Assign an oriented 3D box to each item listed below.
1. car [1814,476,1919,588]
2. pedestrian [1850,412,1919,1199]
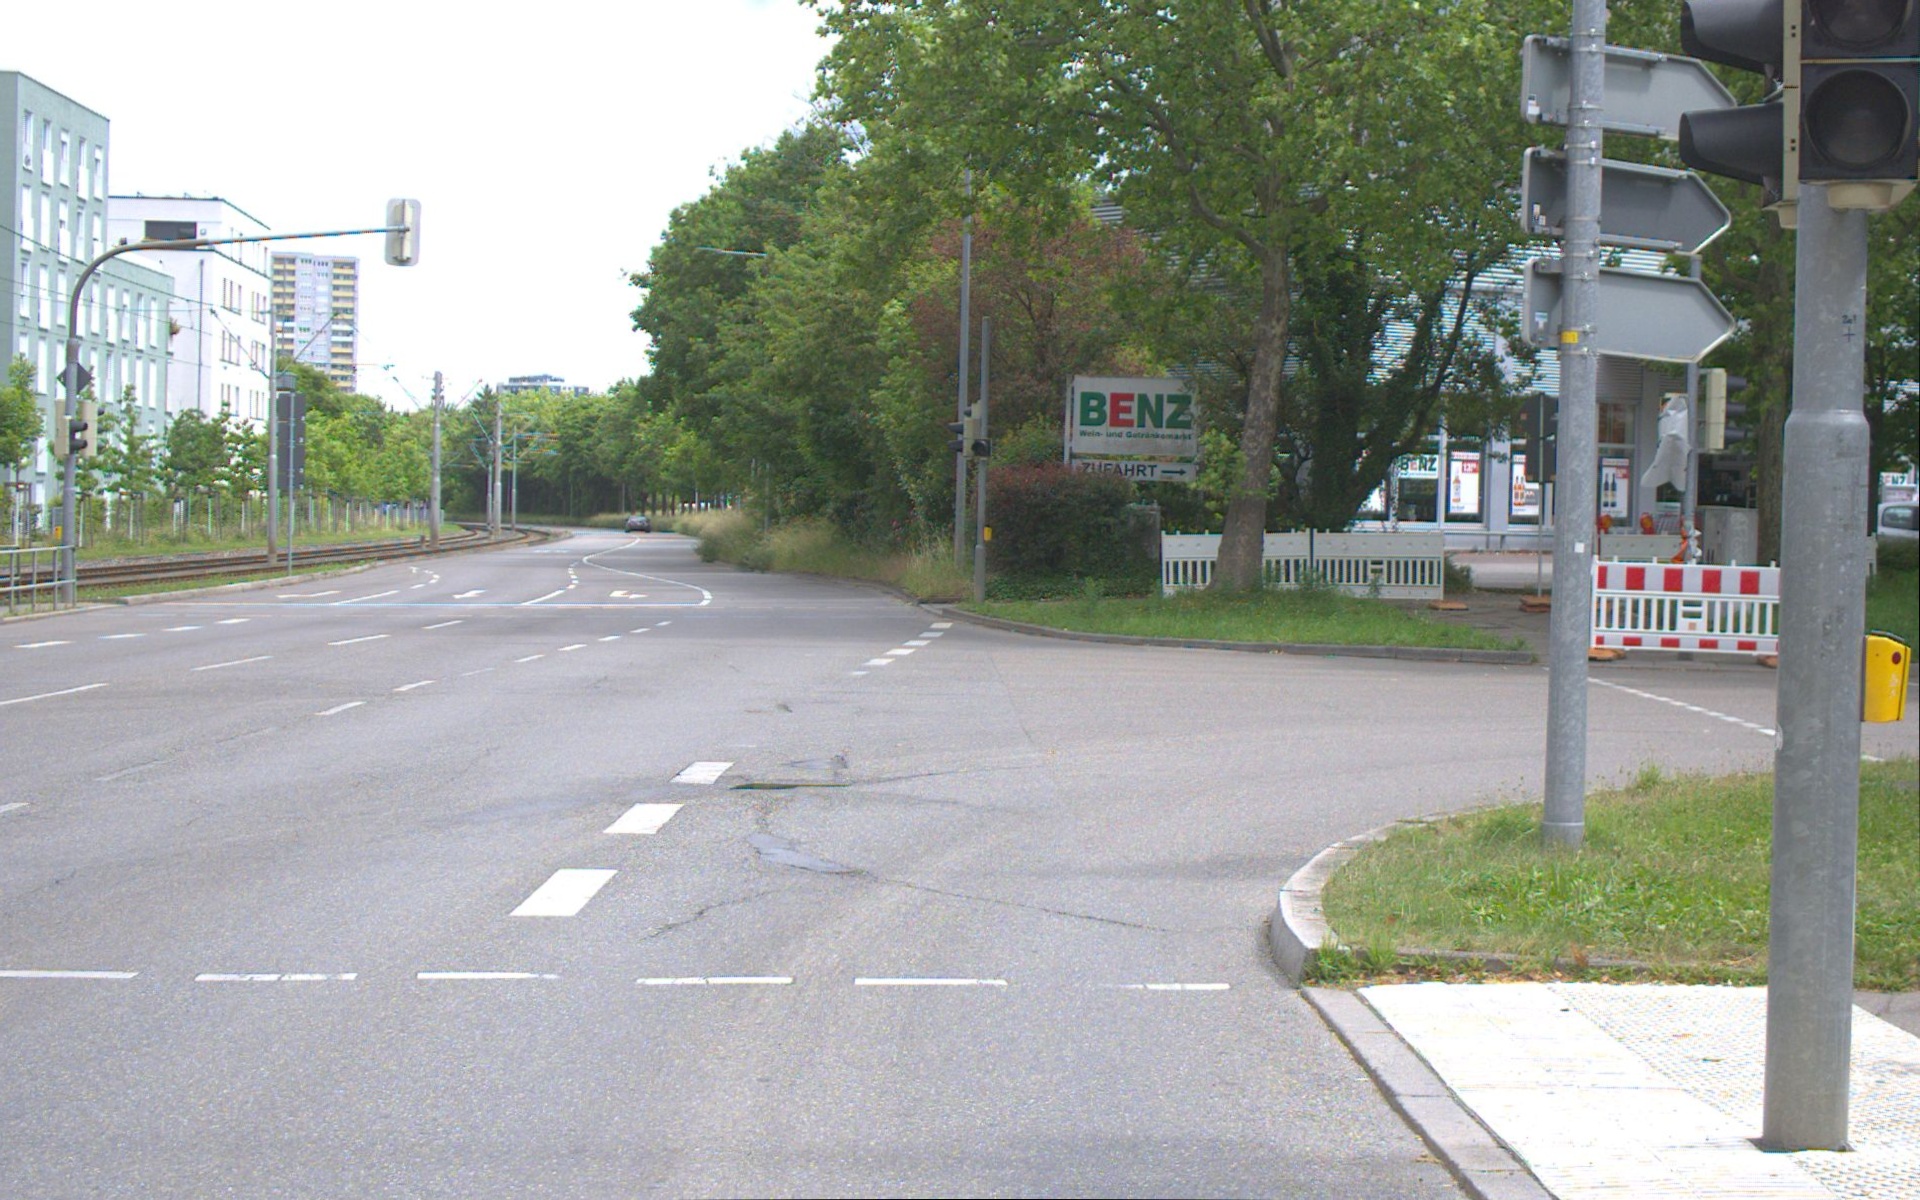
[{"bbox_3d":[17.738,-1.246,62.564,1.993,2.007,4.000,0,2,-32],"label":"car"},{"bbox_3d":[1.920,0.533,5.690,0.823,1.665,0.733,1,1,17],"label":"pedestrian"}]
